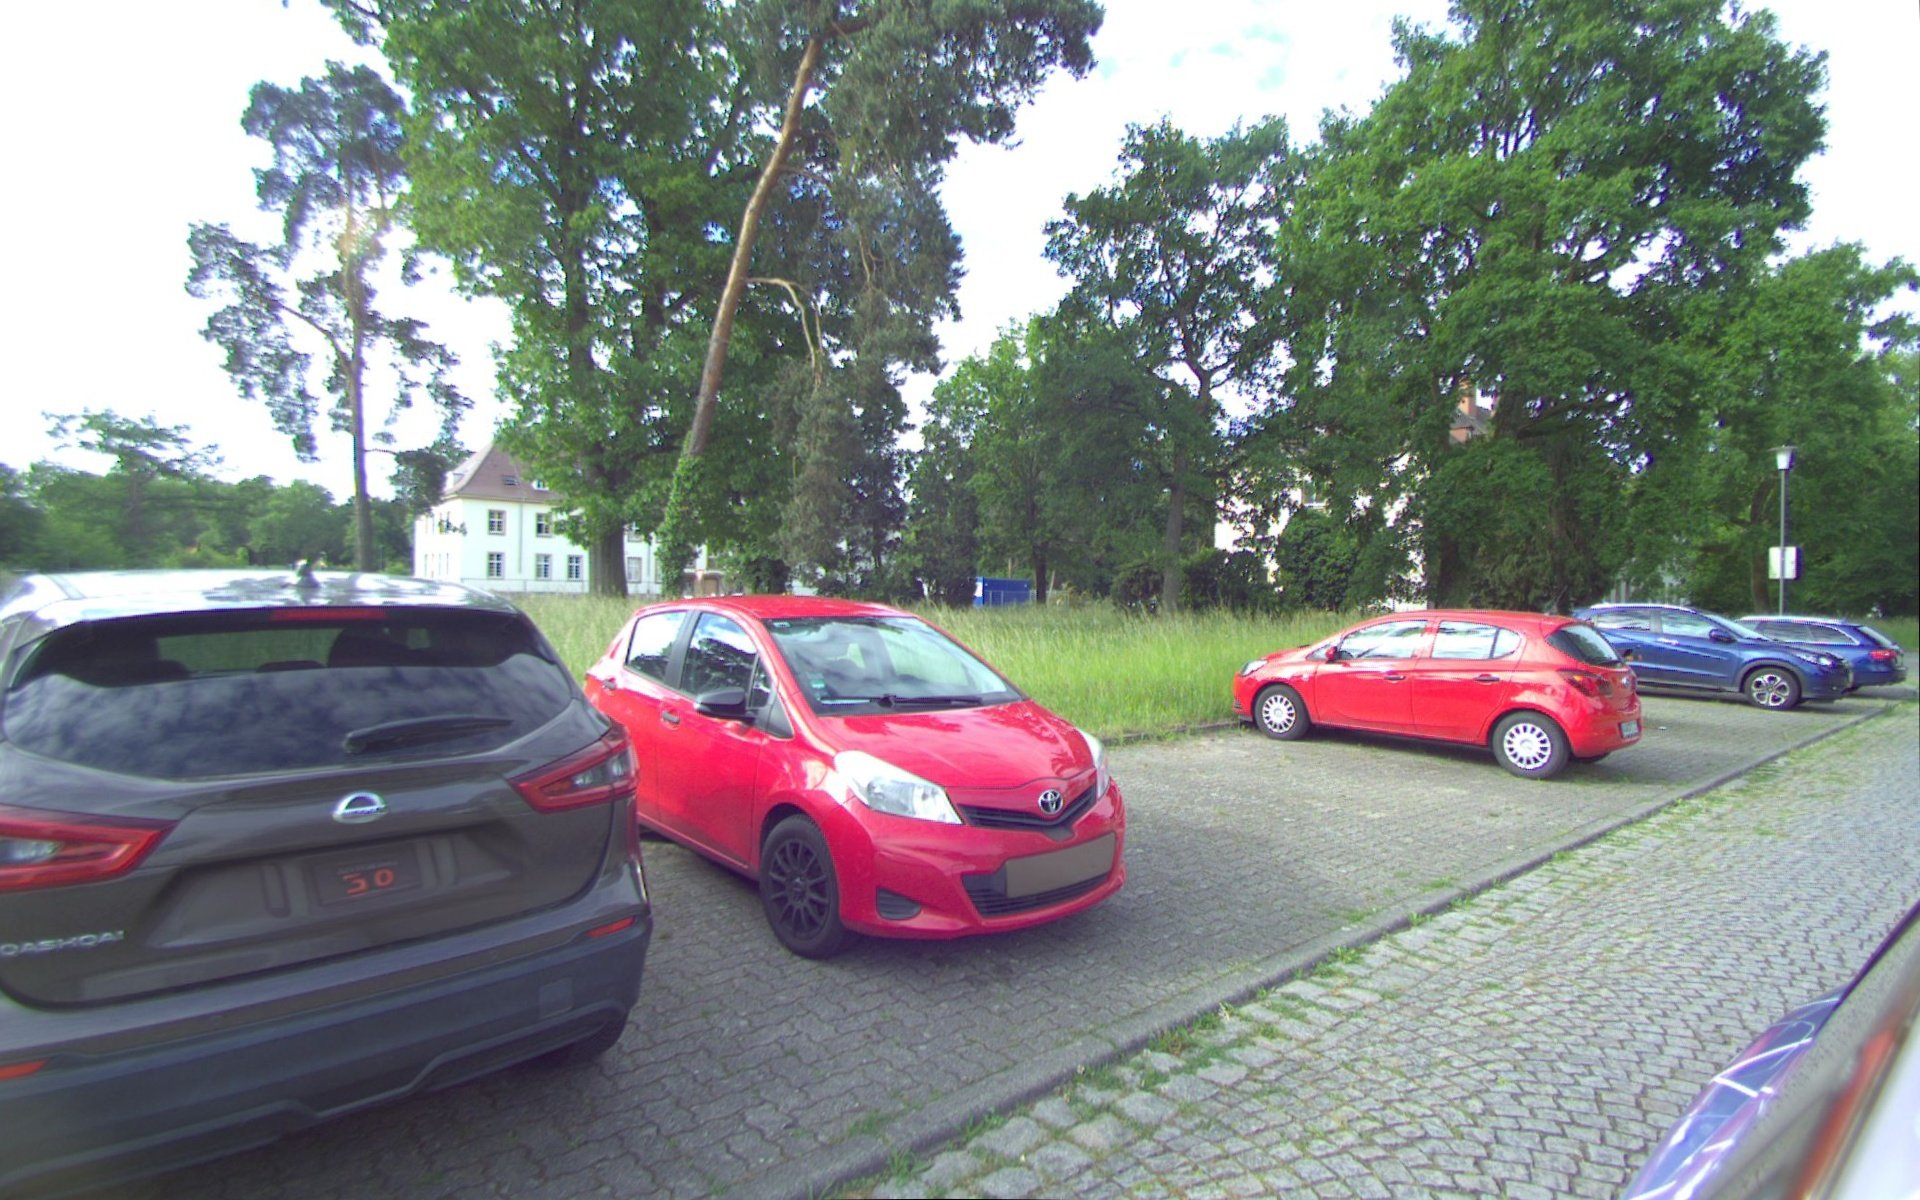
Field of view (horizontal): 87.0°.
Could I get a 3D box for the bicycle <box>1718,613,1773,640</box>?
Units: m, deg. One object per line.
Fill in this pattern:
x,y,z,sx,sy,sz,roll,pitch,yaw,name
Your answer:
35.646,1.196,45.952,1.848,1.101,0.515,1,2,28,bicycle

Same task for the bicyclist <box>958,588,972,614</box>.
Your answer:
0.398,0.089,80.396,0.833,2.039,0.658,0,-1,-40,bicyclist

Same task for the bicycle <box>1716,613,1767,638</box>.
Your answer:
36.682,1.192,47.524,1.791,1.101,0.548,1,2,28,bicycle

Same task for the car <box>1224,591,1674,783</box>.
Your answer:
4.896,0.726,10.525,1.708,1.524,3.846,1,1,-42,car

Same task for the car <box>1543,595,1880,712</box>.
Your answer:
12.572,0.794,17.156,1.862,1.593,4.271,1,1,-41,car

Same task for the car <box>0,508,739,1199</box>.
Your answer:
-2.598,0.611,3.766,1.732,1.600,3.955,1,0,-42,car

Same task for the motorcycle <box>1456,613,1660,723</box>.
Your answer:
7.949,0.855,13.551,2.265,1.291,0.596,2,1,45,motorcycle

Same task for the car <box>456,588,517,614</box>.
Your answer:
-38.664,0.081,82.624,5.811,2.039,2.450,-1,0,42,car

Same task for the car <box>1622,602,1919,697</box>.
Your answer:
16.131,0.891,20.185,1.860,1.483,4.518,1,1,-37,car

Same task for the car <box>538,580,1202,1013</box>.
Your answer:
-0.816,0.677,5.686,1.707,1.538,3.994,1,0,-41,car

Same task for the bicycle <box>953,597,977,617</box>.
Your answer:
0.407,0.547,80.399,1.900,1.498,0.654,0,-1,-40,bicycle
